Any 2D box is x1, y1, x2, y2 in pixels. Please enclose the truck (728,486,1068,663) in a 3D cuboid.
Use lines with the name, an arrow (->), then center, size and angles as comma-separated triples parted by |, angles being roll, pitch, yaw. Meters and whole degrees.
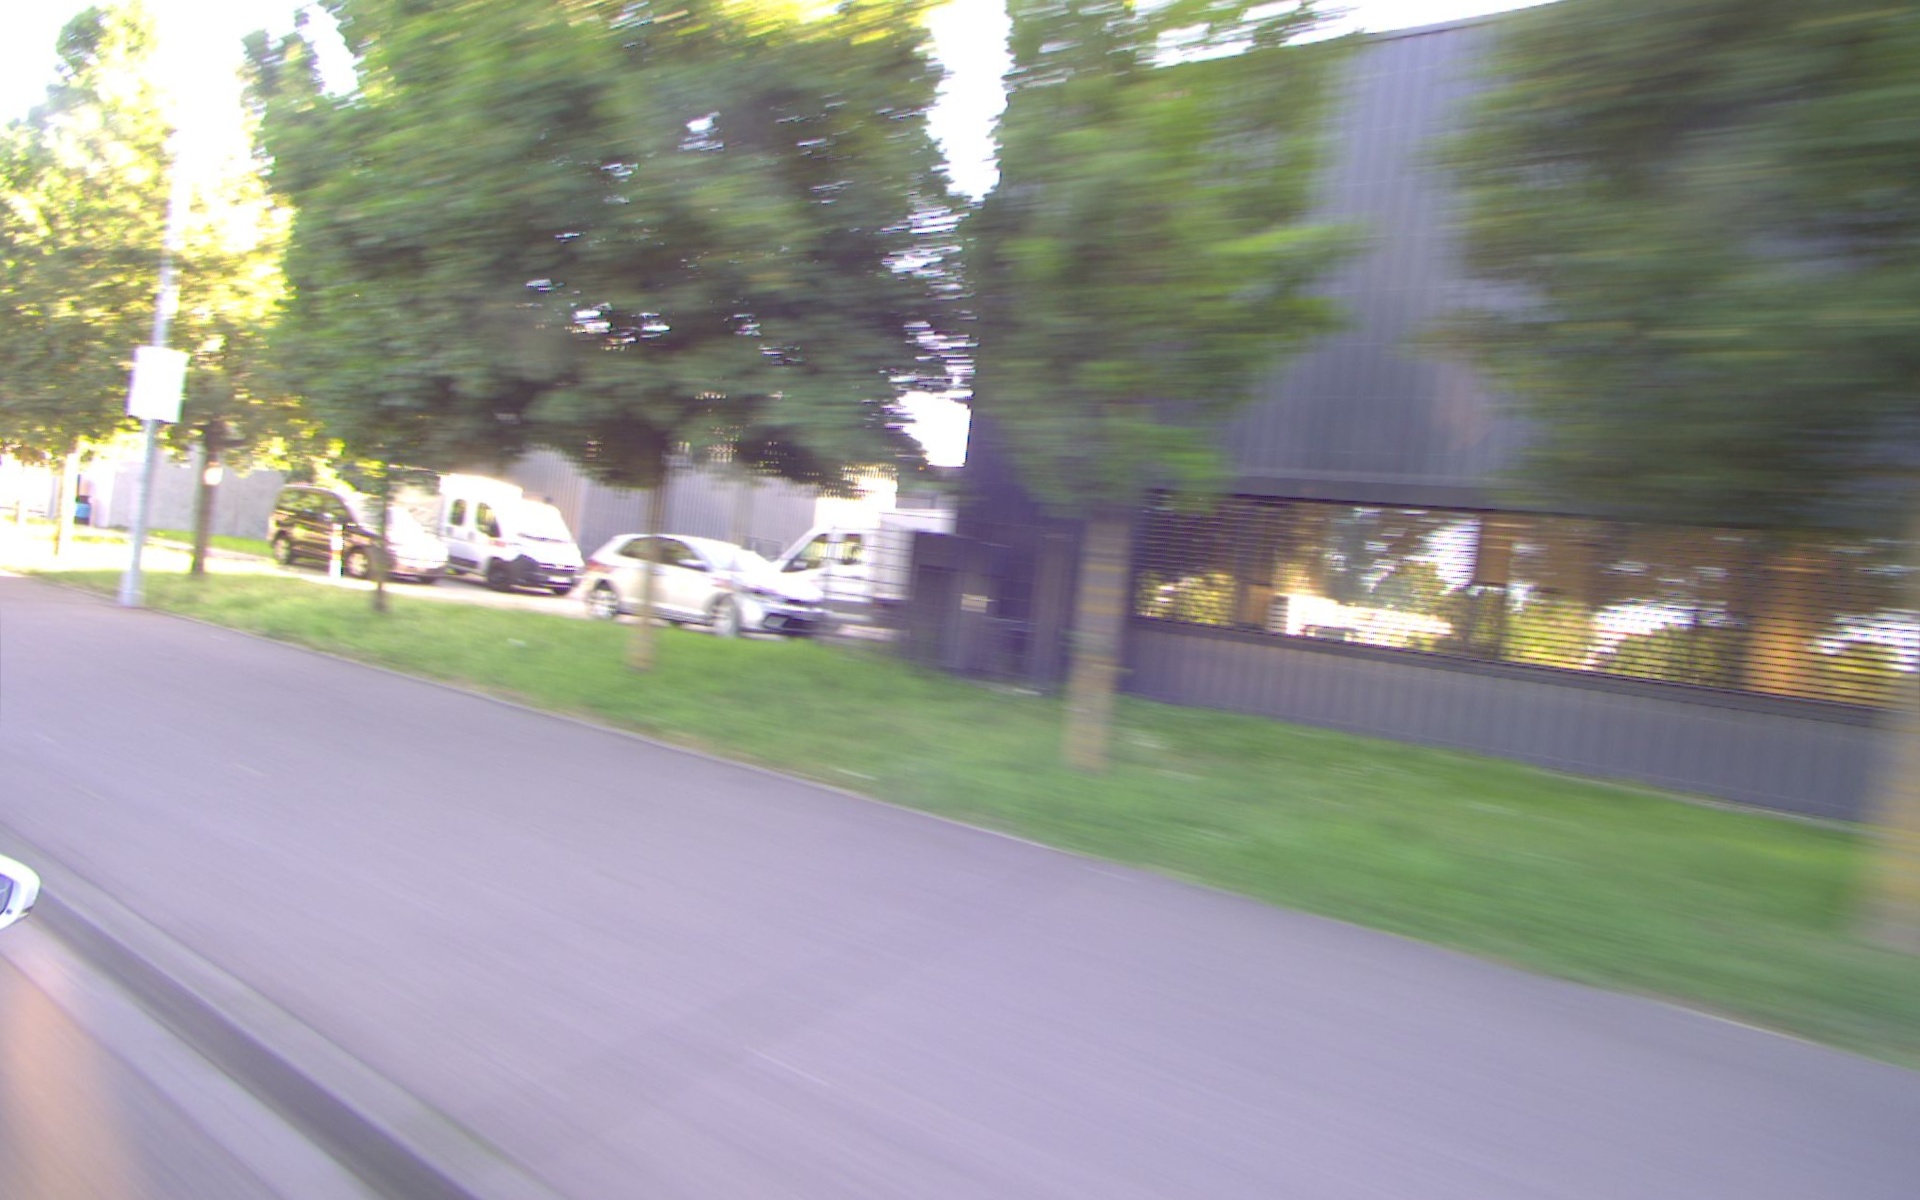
truck -> -1.336, -0.565, 19.852 | 6.295, 2.709, 2.286 | 7, -1, 32

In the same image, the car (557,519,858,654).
car -> -3.880, -0.225, 15.312 | 4.206, 1.483, 1.839 | 7, -2, 29

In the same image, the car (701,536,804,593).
car -> -8.918, -1.523, 43.169 | 3.934, 1.941, 1.861 | 7, -1, 32

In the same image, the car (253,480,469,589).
car -> -13.463, -1.483, 22.567 | 4.584, 1.835, 1.840 | 7, -1, 27

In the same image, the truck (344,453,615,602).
truck -> -12.192, -1.858, 25.383 | 6.631, 2.871, 2.365 | 8, -1, 27
